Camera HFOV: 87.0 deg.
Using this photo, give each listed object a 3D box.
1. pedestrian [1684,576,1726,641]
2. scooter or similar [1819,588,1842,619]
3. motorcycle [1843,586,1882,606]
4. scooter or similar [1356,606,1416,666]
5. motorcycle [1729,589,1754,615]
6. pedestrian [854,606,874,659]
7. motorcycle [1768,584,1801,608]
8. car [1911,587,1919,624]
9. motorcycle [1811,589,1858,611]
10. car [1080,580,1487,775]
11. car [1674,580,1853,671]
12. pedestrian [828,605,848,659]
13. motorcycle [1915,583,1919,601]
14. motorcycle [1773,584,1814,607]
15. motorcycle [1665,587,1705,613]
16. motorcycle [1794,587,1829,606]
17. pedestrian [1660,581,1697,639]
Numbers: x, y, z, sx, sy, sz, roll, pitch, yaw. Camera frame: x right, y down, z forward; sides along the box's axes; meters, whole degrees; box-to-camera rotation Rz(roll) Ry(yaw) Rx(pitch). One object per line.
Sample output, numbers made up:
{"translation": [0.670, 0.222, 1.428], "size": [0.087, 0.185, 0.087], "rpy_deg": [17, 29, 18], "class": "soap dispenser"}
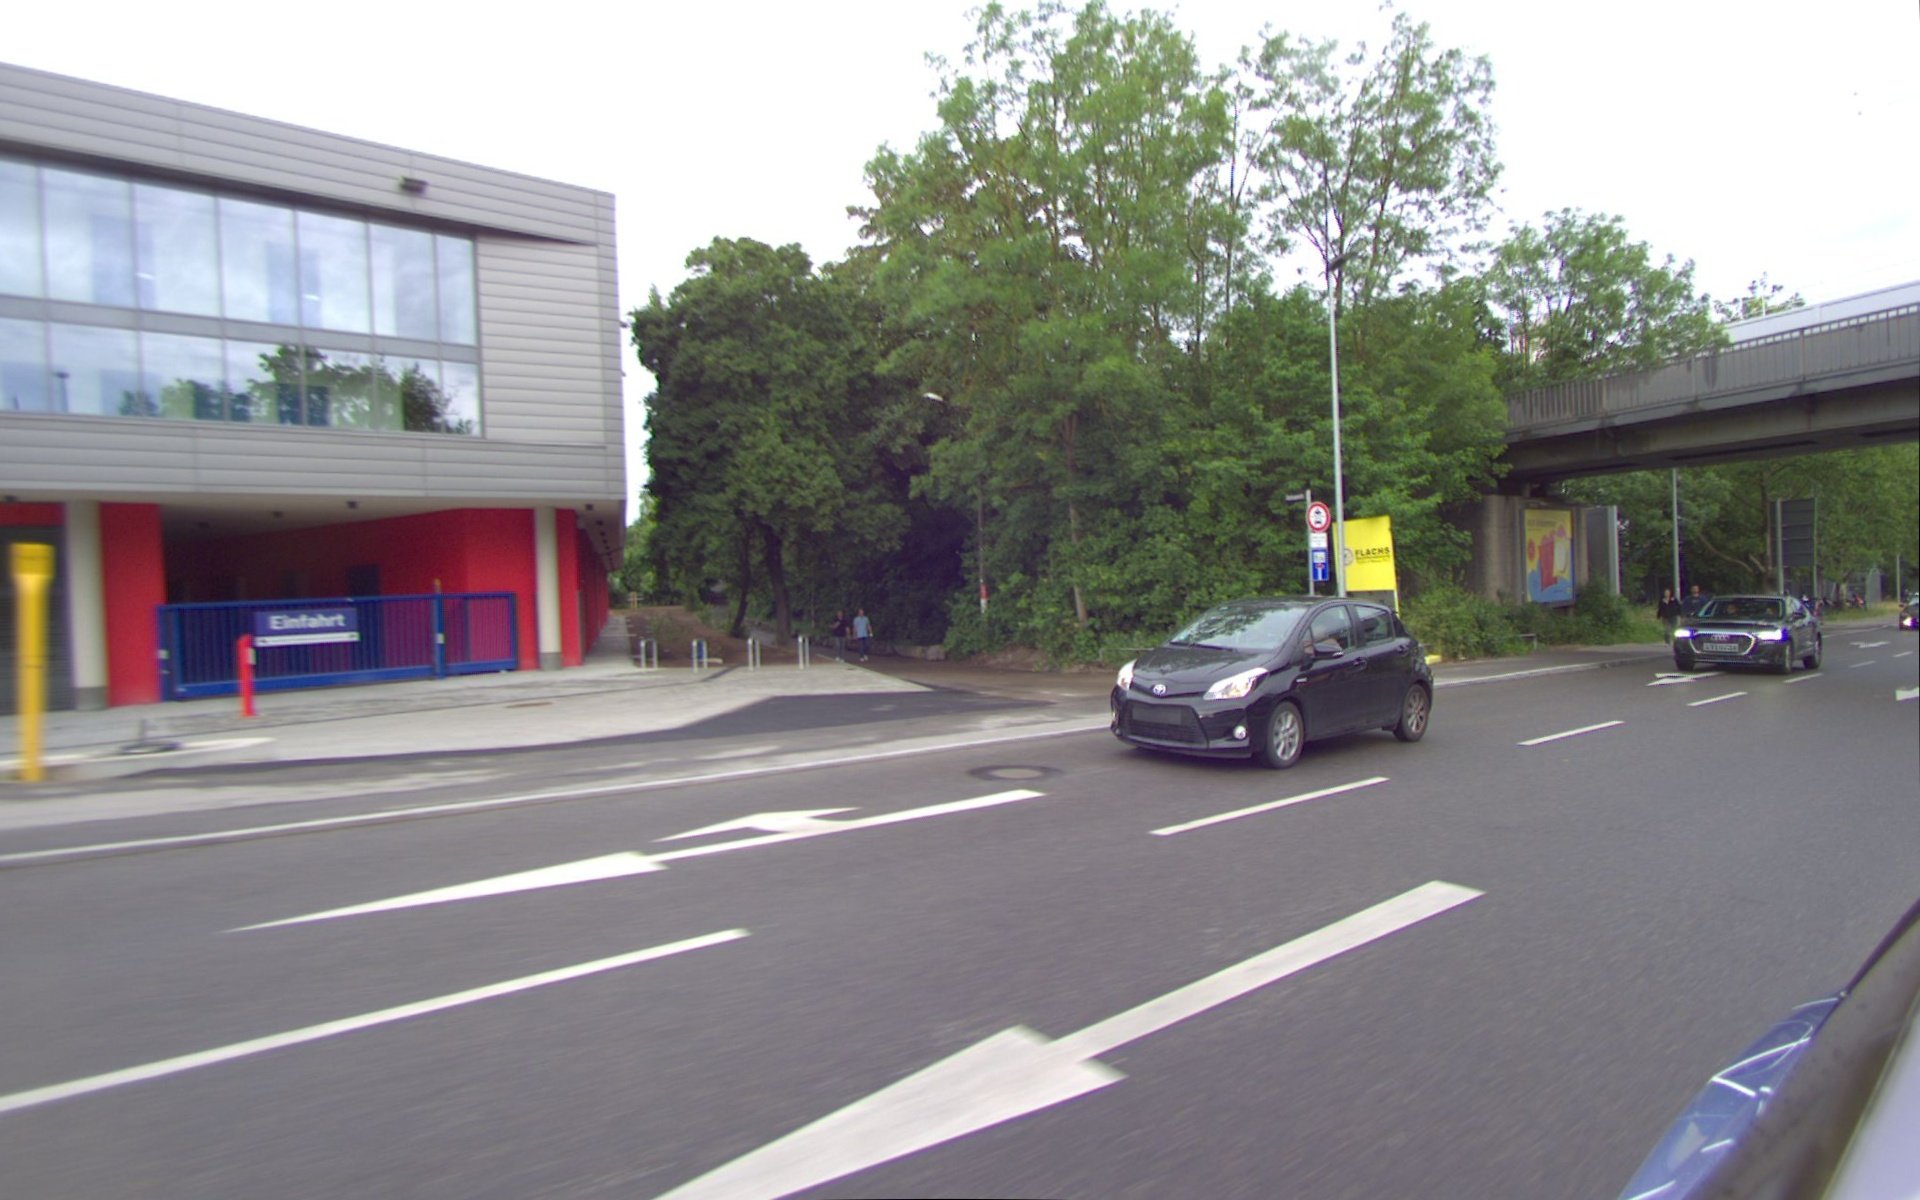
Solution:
{"translation": [20.526, 0.228, 27.889], "size": [0.874, 1.743, 0.613], "rpy_deg": [-1, 0, -30], "class": "pedestrian"}
{"translation": [38.549, 0.159, 44.793], "size": [1.281, 1.315, 0.313], "rpy_deg": [-2, 0, -28], "class": "scooter or similar"}
{"translation": [54.469, -0.241, 61.087], "size": [0.483, 1.165, 1.659], "rpy_deg": [-2, -1, -31], "class": "motorcycle"}
{"translation": [8.376, 0.702, 19.898], "size": [1.253, 1.144, 0.256], "rpy_deg": [-1, -1, -23], "class": "scooter or similar"}
{"translation": [41.661, 0.109, 53.965], "size": [1.956, 1.295, 0.646], "rpy_deg": [-2, 0, -40], "class": "motorcycle"}
{"translation": [-3.372, 1.126, 35.533], "size": [0.588, 1.839, 0.587], "rpy_deg": [-1, -1, -11], "class": "pedestrian"}
{"translation": [51.486, -0.236, 63.186], "size": [0.498, 1.382, 1.499], "rpy_deg": [-1, -2, -44], "class": "motorcycle"}
{"translation": [41.123, 0.167, 42.062], "size": [4.438, 1.448, 1.748], "rpy_deg": [-2, 0, -40], "class": "car"}
{"translation": [47.128, 0.004, 54.565], "size": [1.842, 1.206, 0.515], "rpy_deg": [-1, 0, 36], "class": "motorcycle"}
{"translation": [3.460, 0.617, 10.325], "size": [4.559, 1.488, 1.748], "rpy_deg": [-2, 0, -40], "class": "car"}
{"translation": [16.825, 0.456, 21.075], "size": [5.510, 1.564, 1.818], "rpy_deg": [-2, 0, -40], "class": "car"}
{"translation": [-4.248, 1.104, 35.278], "size": [0.612, 1.839, 0.587], "rpy_deg": [-1, -1, -11], "class": "pedestrian"}
{"translation": [69.916, -0.570, 72.631], "size": [0.432, 1.289, 2.018], "rpy_deg": [-1, 1, -27], "class": "motorcycle"}
{"translation": [52.974, -0.297, 64.345], "size": [0.498, 1.382, 1.929], "rpy_deg": [-1, -2, -44], "class": "motorcycle"}
{"translation": [36.467, 0.007, 50.889], "size": [2.028, 1.295, 0.350], "rpy_deg": [-1, 0, -11], "class": "motorcycle"}
{"translation": [56.135, -0.237, 66.730], "size": [0.548, 1.160, 1.645], "rpy_deg": [-2, -1, -28], "class": "motorcycle"}
{"translation": [20.209, 0.279, 28.461], "size": [0.567, 1.616, 0.653], "rpy_deg": [-1, 0, -28], "class": "pedestrian"}
